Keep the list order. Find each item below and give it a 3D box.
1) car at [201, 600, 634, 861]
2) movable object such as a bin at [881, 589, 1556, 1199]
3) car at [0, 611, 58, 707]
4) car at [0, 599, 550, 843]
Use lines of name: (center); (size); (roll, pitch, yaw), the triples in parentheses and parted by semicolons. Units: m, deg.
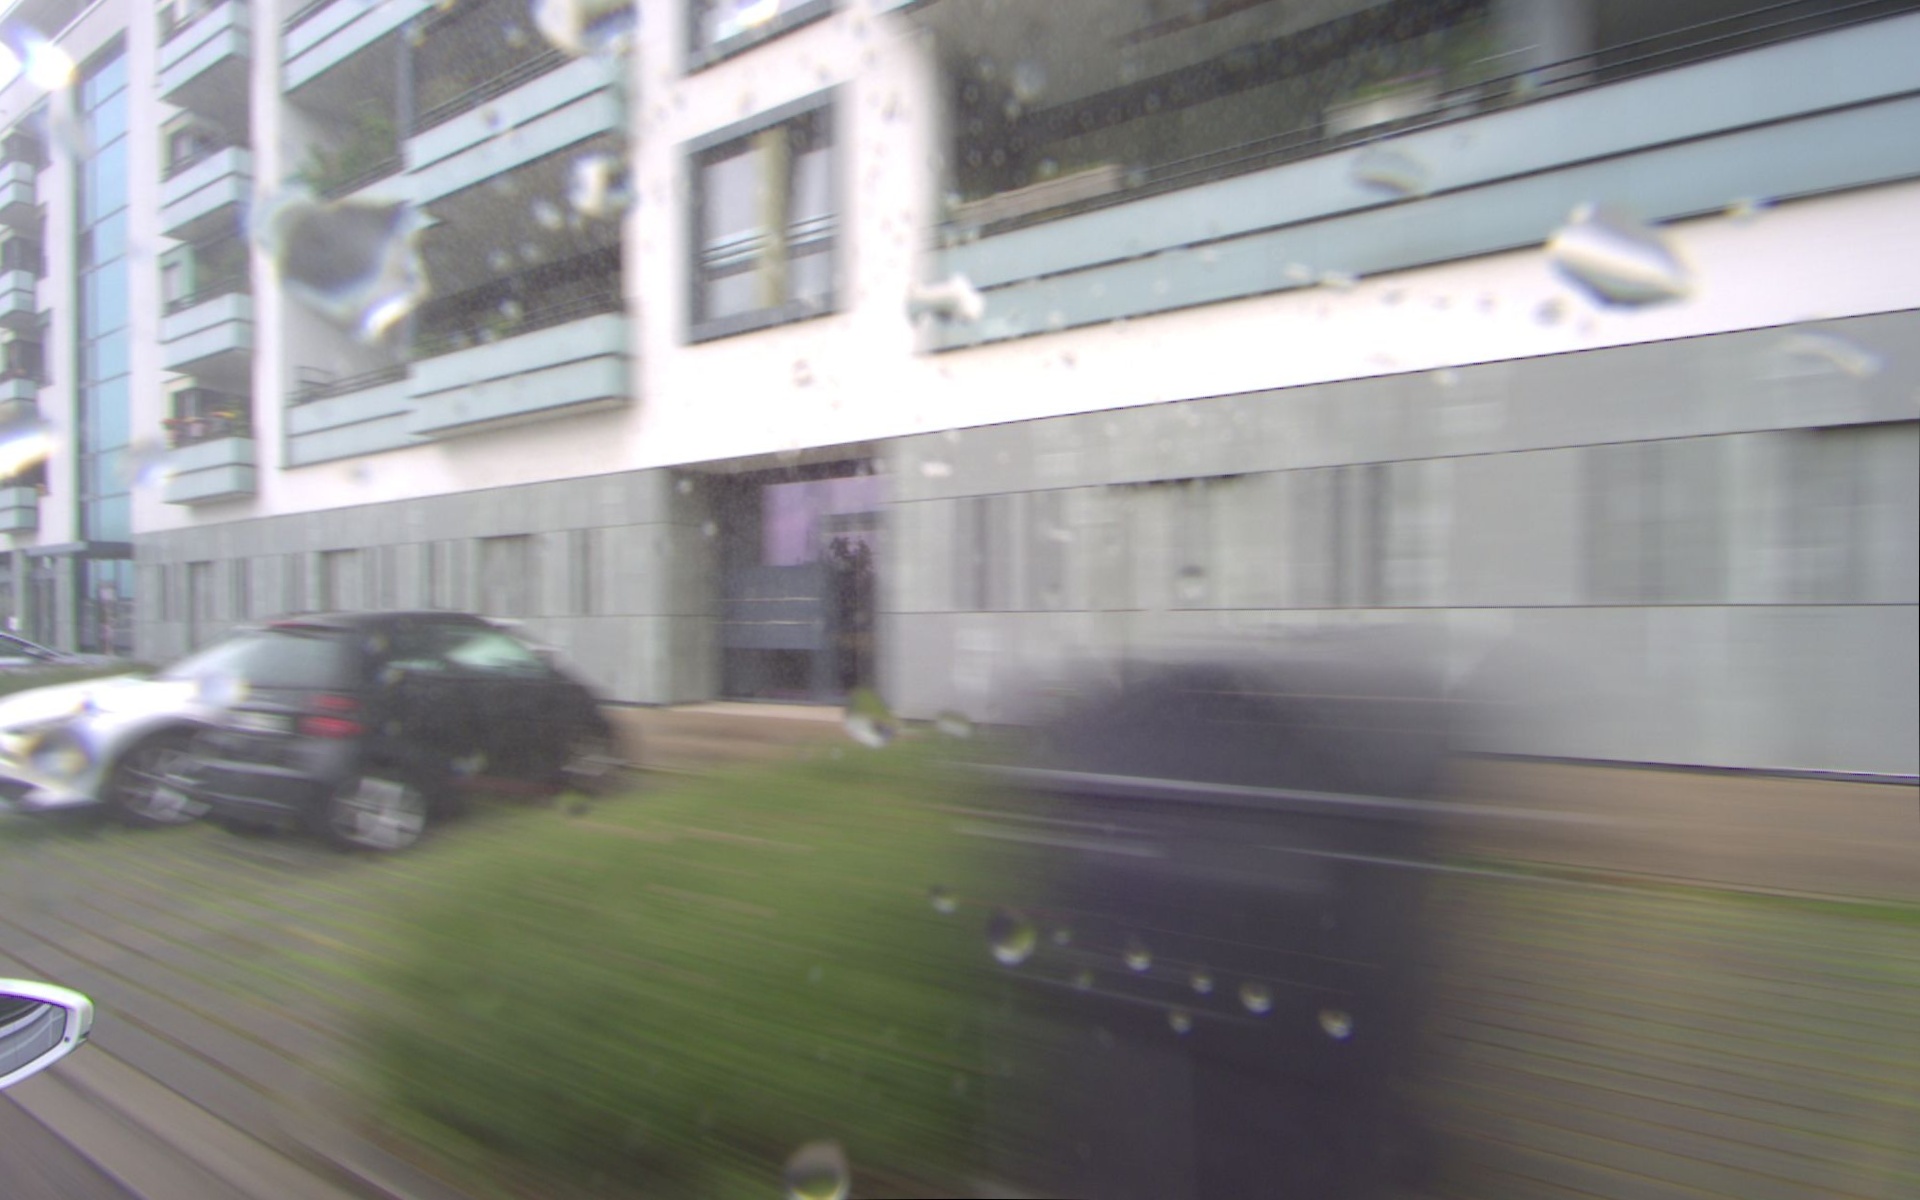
car: (-3.861, 0.797, 7.504); (1.188, 1.527, 2.622); (0, 1, 26)
movable object such as a bin: (0.733, 0.760, 2.378); (1.139, 1.514, 1.492); (0, 2, 32)
car: (-16.852, 0.970, 15.379); (2.029, 1.517, 4.051); (0, 1, 33)
car: (-6.204, 0.830, 9.042); (1.866, 1.551, 4.336); (-1, 1, 32)
